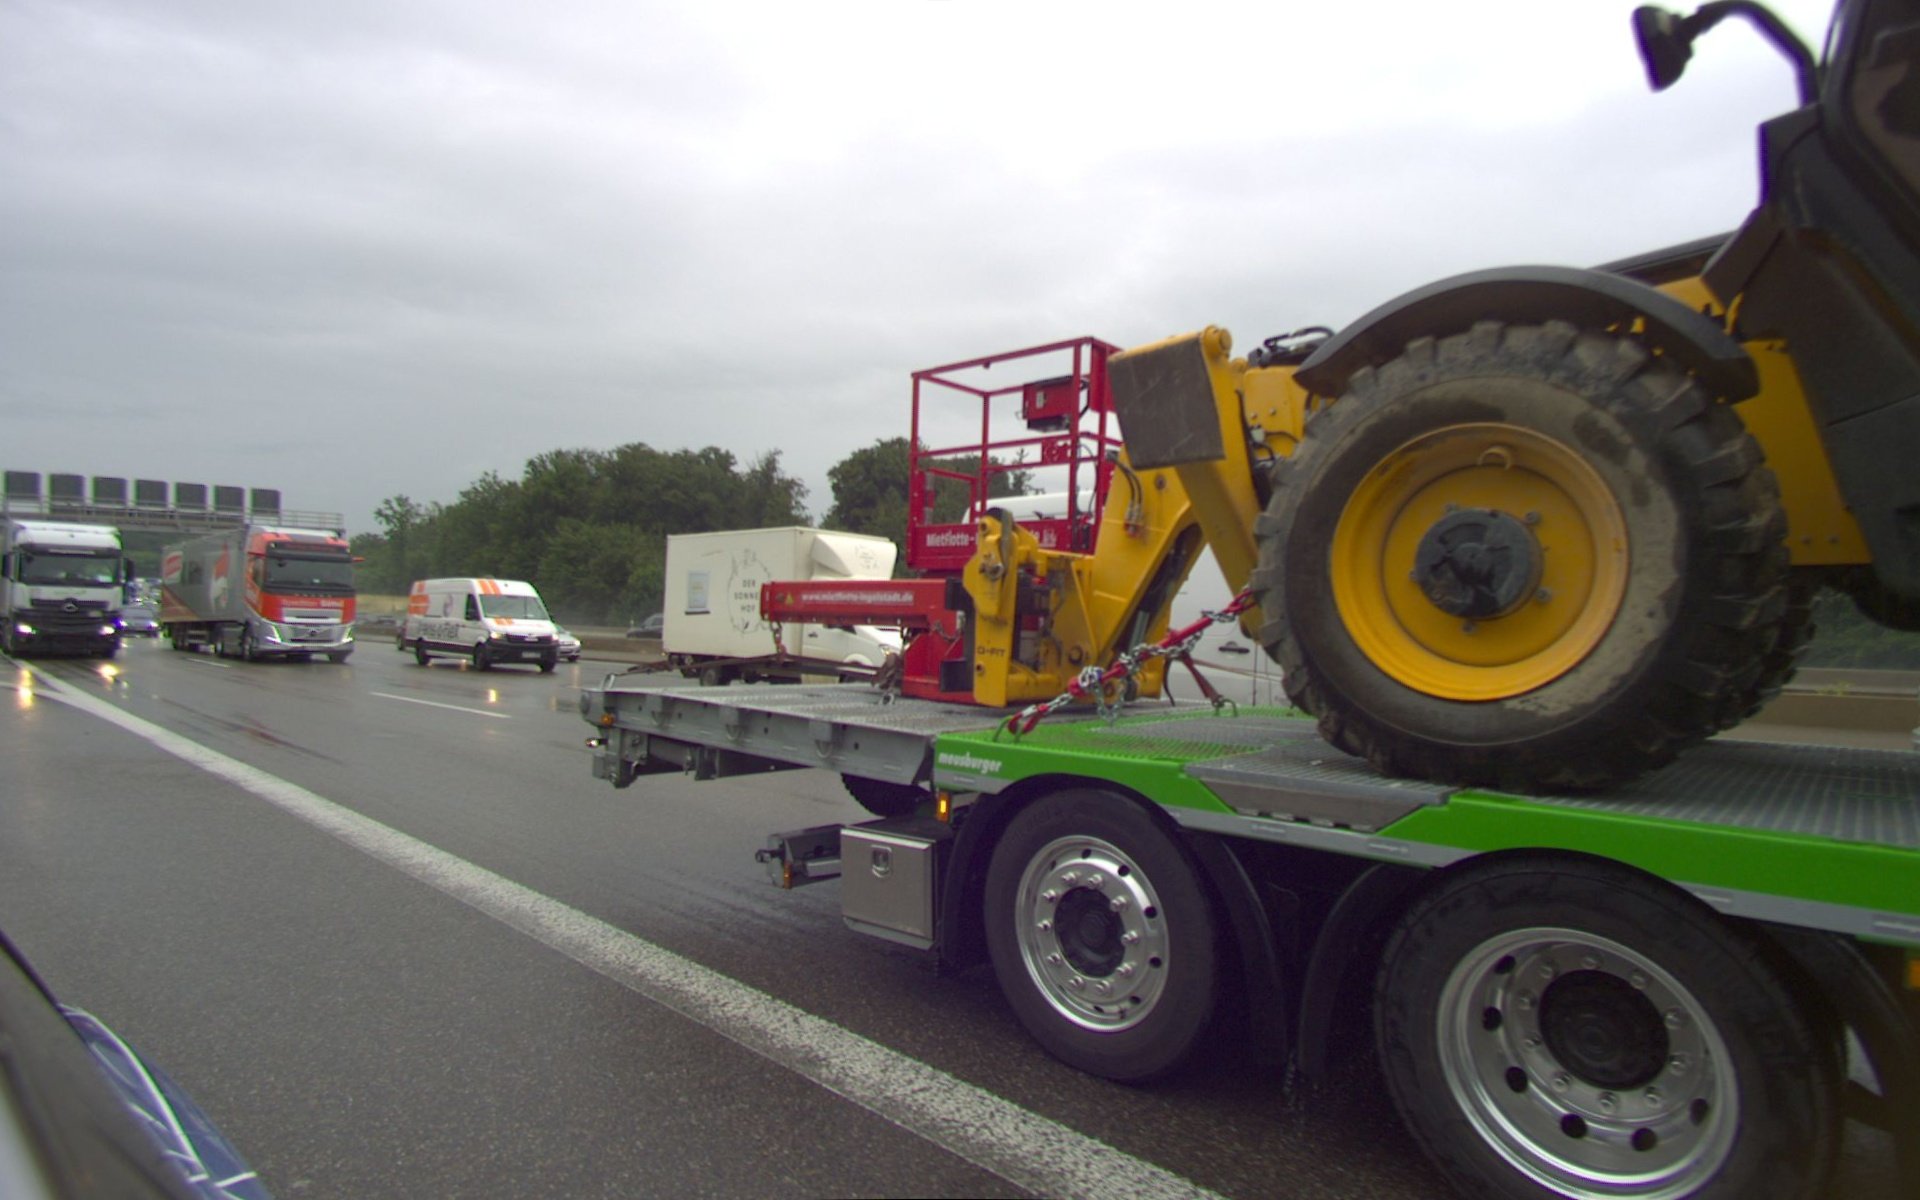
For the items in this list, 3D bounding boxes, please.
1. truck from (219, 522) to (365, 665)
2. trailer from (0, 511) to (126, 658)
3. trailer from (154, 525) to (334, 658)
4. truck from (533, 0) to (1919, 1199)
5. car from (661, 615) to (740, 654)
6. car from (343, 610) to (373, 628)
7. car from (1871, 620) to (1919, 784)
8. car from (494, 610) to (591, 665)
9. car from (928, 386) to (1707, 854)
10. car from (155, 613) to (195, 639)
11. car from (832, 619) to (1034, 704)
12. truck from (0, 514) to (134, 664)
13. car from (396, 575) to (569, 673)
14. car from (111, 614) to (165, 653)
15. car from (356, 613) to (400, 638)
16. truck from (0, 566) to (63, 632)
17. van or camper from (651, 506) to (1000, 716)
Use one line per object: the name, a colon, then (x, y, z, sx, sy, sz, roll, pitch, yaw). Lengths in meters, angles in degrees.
truck: (-19.917, -0.143, 30.116, 4.590, 3.893, 2.597, 0, -2, 44)
trailer: (-31.533, -0.460, 35.016, 2.884, 4.237, 13.645, 2, -1, -44)
trailer: (-25.428, -0.195, 35.452, 13.680, 3.893, 2.597, 0, -2, 44)
truck: (2.999, -0.424, 2.426, 11.798, 3.616, 2.800, 0, -2, 43)
car: (-12.250, 1.572, 47.646, 4.002, 1.690, 1.822, 0, 0, 44)
car: (-62.572, 1.985, 105.126, 1.969, 1.829, 4.111, 0, 0, -41)
car: (12.240, 1.059, 9.753, 5.080, 1.696, 1.972, -1, -3, 42)
car: (-14.758, 1.291, 35.742, 3.734, 1.842, 1.737, -1, -1, 42)
car: (2.550, 0.133, 8.559, 5.846, 2.649, 2.190, 0, -1, 44)
car: (-53.953, 1.751, 69.546, 1.969, 1.683, 4.189, -1, 0, -40)
car: (-0.663, 1.191, 21.029, 4.417, 1.534, 1.597, 0, -1, 45)
truck: (-27.727, -0.282, 31.139, 2.884, 4.130, 6.724, 2, -1, -44)
car: (-13.983, 0.650, 29.291, 7.369, 2.507, 2.123, 0, -1, 45)
car: (-43.573, 1.718, 53.633, 4.002, 1.785, 1.738, 2, 3, 44)
car: (-48.995, 2.095, 85.120, 4.739, 2.029, 1.971, 0, 0, 44)
truck: (-63.854, -0.219, 69.242, 3.307, 4.100, 12.586, -2, 3, -43)
van or camper: (-2.771, 0.193, 18.908, 7.132, 3.228, 2.551, 0, -1, 44)
